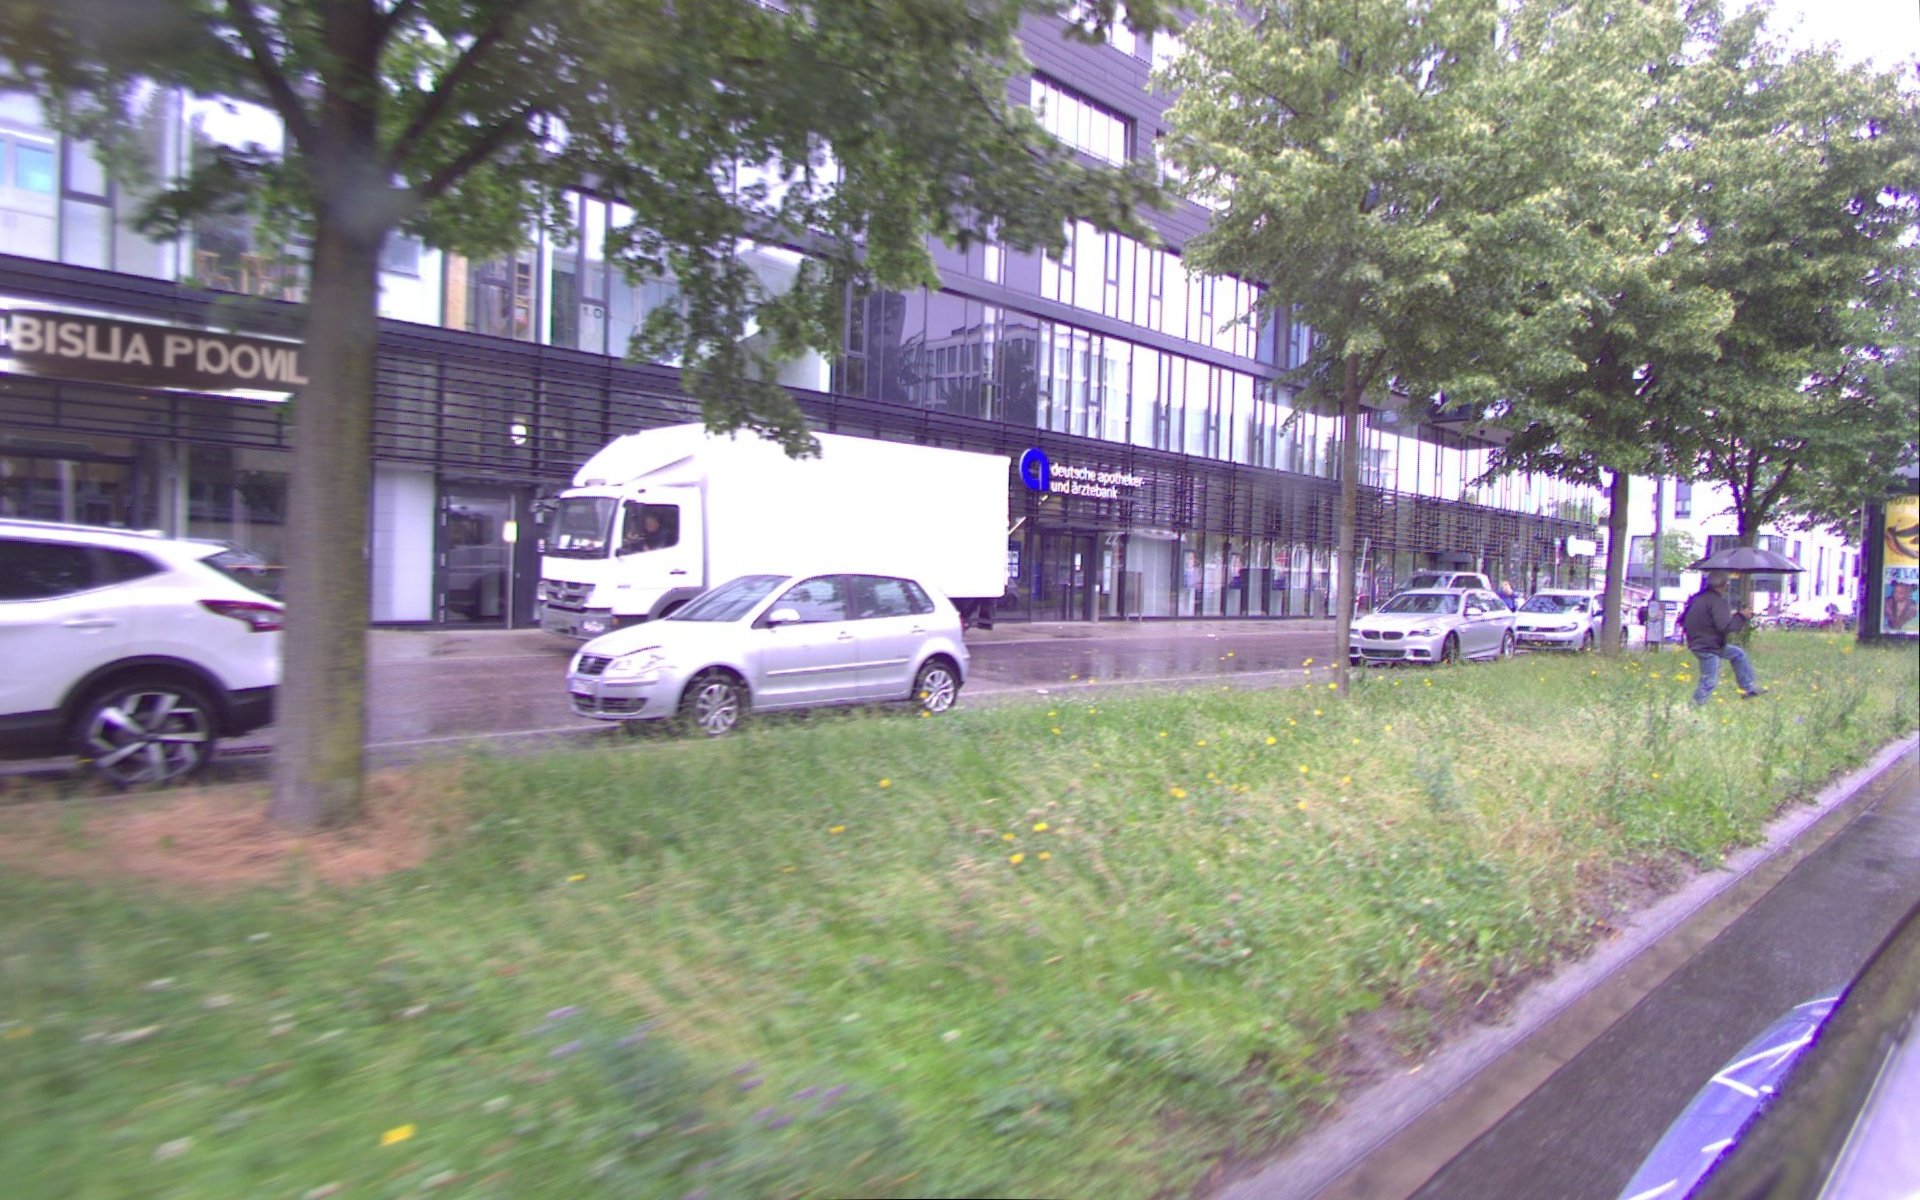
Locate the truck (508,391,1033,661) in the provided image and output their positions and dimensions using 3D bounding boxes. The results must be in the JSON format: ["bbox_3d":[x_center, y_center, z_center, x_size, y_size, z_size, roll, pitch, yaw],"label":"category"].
[{"bbox_3d":[-2.735,-0.993,17.091,8.405,3.484,3.028,0,1,-44],"label":"truck"}]

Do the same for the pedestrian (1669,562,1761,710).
[{"bbox_3d":[8.111,0.363,10.871,0.688,1.512,0.643,1,1,-43],"label":"pedestrian"}]

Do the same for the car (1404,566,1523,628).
[{"bbox_3d":[17.332,-0.104,34.727,5.062,1.944,1.996,0,1,-43],"label":"car"}]

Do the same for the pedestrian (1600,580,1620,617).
[{"bbox_3d":[30.968,-0.080,48.244,0.626,1.727,0.646,3,-1,44],"label":"pedestrian"}]

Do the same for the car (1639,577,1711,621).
[{"bbox_3d":[33.606,-0.030,47.526,4.644,1.889,1.895,1,1,-44],"label":"car"}]

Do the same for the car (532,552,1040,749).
[{"bbox_3d":[-1.451,0.369,9.792,4.645,1.470,1.771,-1,-1,-43],"label":"car"}]

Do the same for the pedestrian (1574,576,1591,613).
[{"bbox_3d":[31.198,-0.266,50.727,0.500,1.856,0.574,3,-1,13],"label":"pedestrian"}]

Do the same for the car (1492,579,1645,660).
[{"bbox_3d":[13.868,0.473,22.980,4.027,1.616,1.764,3,0,-41],"label":"car"}]

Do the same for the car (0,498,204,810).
[{"bbox_3d":[-6.923,0.242,5.266,4.641,1.690,1.997,1,1,-41],"label":"car"}]

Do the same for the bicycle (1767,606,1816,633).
[{"bbox_3d":[30.822,0.718,37.530,0.424,0.928,1.464,3,0,-8],"label":"bicycle"}]

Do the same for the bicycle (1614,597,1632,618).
[{"bbox_3d":[31.411,0.356,47.946,0.436,0.909,1.211,3,-1,45],"label":"bicycle"}]

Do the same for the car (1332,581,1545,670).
[{"bbox_3d":[9.329,0.418,19.516,5.150,1.462,1.996,0,2,-44],"label":"car"}]

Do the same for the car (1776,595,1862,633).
[{"bbox_3d":[36.377,0.578,42.823,4.871,1.473,1.998,1,1,-41],"label":"car"}]

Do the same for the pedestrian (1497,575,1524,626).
[{"bbox_3d":[19.492,0.017,35.822,0.789,1.761,0.580,4,-1,-43],"label":"pedestrian"}]

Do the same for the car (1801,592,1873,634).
[{"bbox_3d":[40.857,0.603,47.105,4.144,1.729,1.997,3,0,-42],"label":"car"}]
